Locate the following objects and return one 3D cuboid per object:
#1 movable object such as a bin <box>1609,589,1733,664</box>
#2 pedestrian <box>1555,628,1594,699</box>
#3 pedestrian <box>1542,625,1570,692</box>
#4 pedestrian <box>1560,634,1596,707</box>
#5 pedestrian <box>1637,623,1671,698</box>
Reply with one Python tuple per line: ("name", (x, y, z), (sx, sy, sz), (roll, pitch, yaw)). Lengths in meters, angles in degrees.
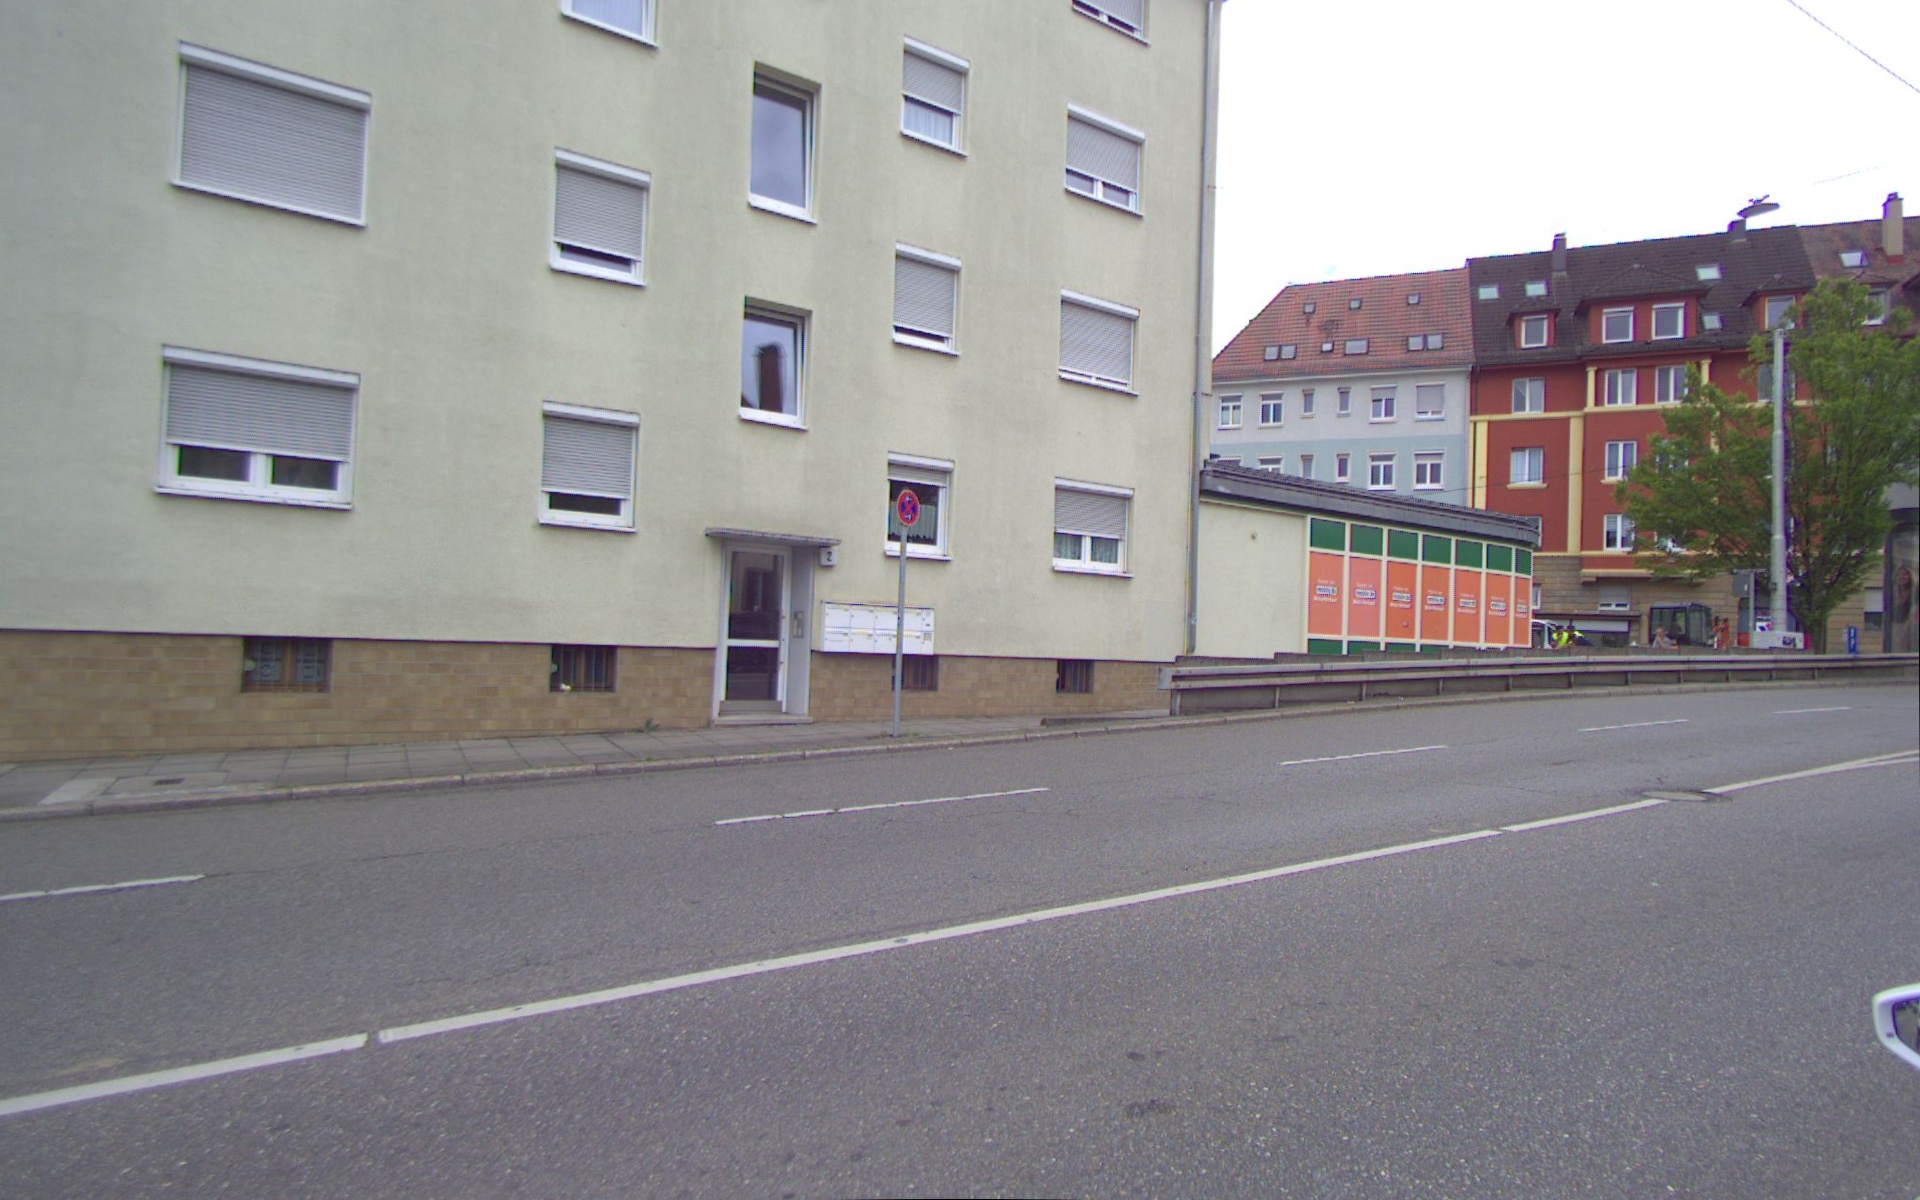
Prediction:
("movable object such as a bin", (19.041, 0.677, 26.832), (3.971, 1.795, 1.884), (1, 1, -43))
("pedestrian", (15.946, 1.645, 26.070), (0.605, 1.785, 0.573), (2, 1, 6))
("pedestrian", (16.083, 1.566, 27.112), (0.467, 1.753, 0.543), (2, 1, 15))
("pedestrian", (15.262, 1.727, 24.820), (0.539, 1.722, 0.557), (1, 1, -40))
("pedestrian", (16.962, 1.467, 24.561), (0.533, 1.753, 0.593), (3, 1, 27))
